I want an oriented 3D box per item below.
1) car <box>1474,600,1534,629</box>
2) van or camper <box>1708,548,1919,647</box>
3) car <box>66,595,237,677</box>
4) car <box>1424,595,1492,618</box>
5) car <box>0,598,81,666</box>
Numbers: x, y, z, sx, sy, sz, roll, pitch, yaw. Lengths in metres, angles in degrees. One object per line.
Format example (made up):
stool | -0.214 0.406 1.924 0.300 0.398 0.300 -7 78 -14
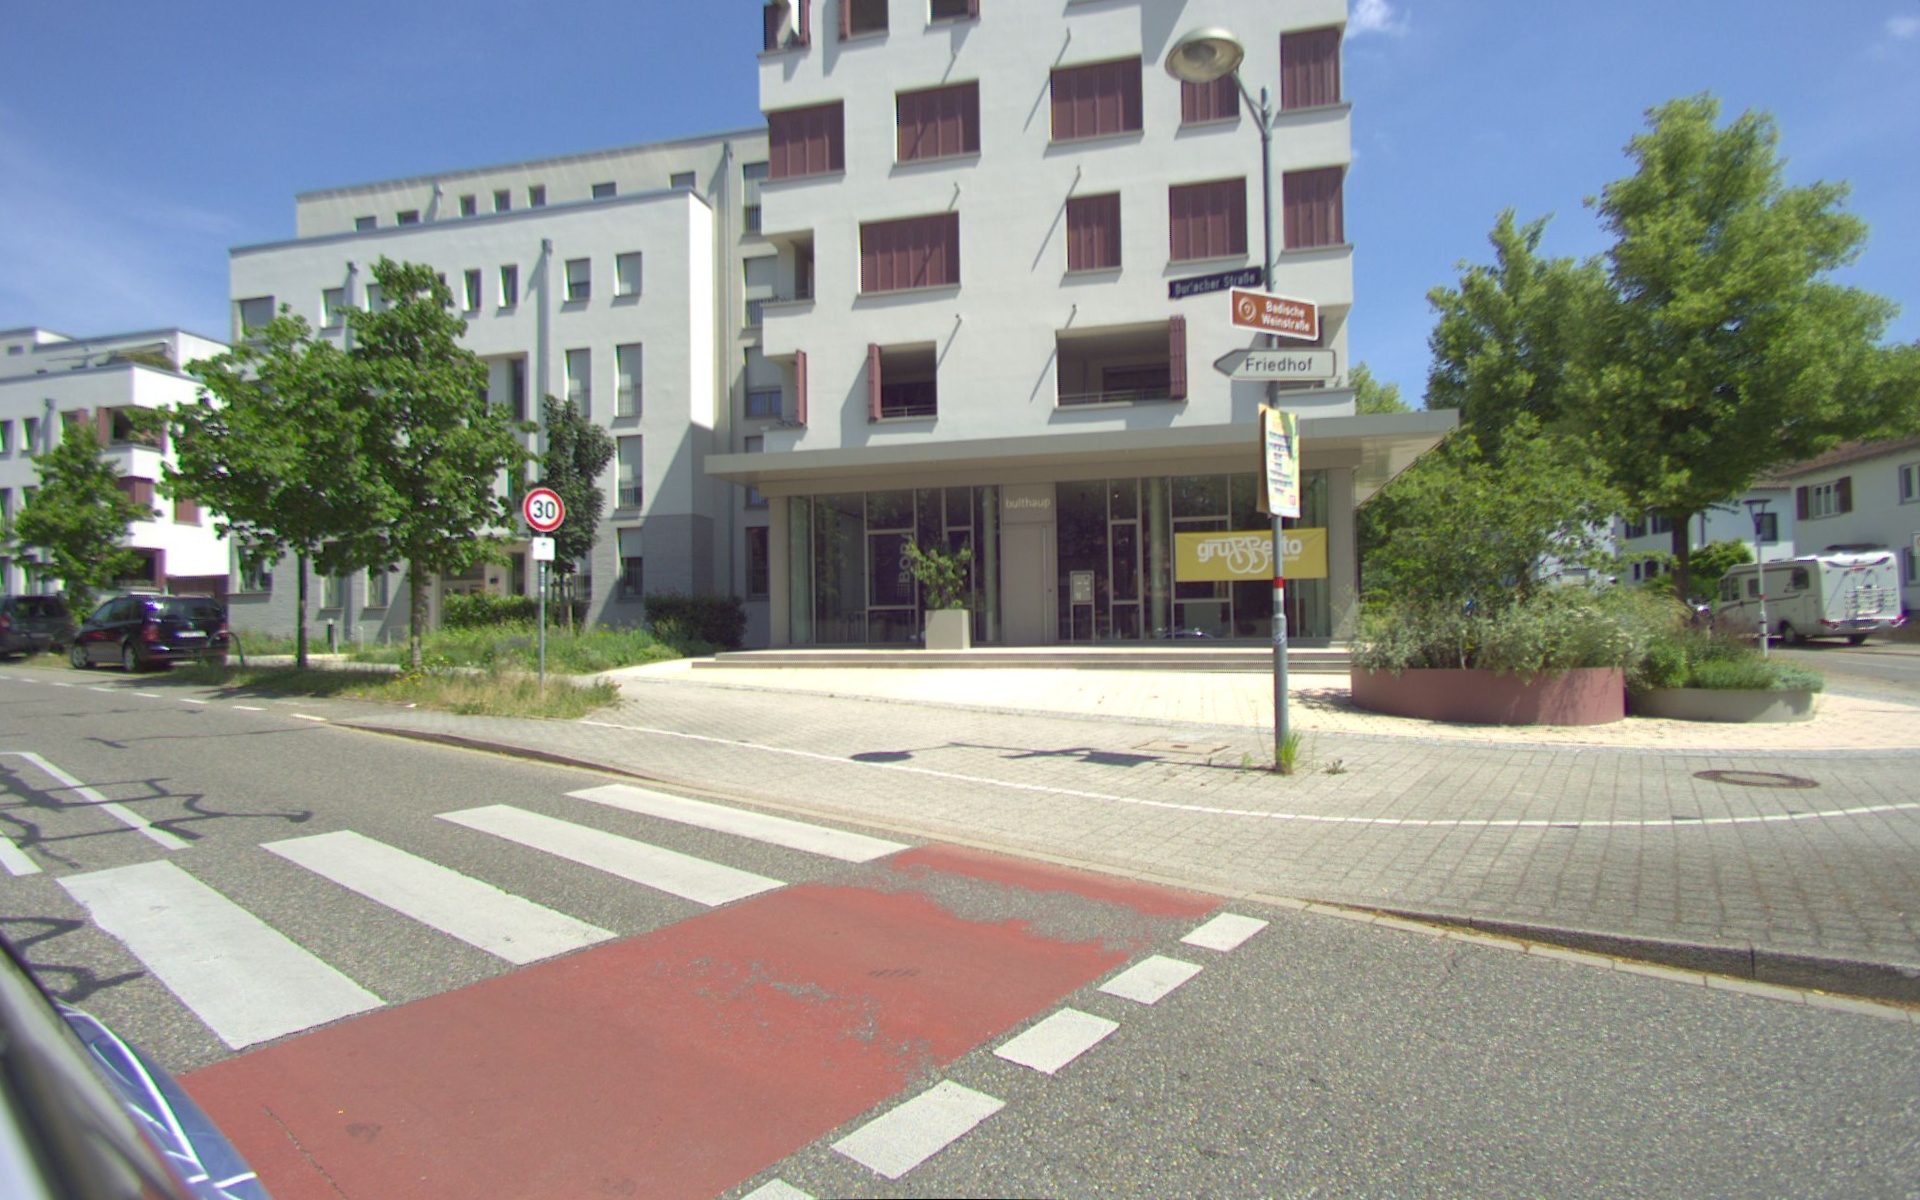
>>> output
car | 29.886 0.802 55.696 1.738 1.516 3.978 -1 -1 11
van or camper | 26.034 -0.043 31.172 2.250 2.658 5.867 -3 -1 10
car | -17.839 0.745 22.298 4.007 1.650 1.681 0 -1 32
car | 36.513 0.491 74.242 4.067 1.621 1.814 0 -1 5
car | -25.231 0.811 26.999 3.615 1.713 1.682 0 -1 32
